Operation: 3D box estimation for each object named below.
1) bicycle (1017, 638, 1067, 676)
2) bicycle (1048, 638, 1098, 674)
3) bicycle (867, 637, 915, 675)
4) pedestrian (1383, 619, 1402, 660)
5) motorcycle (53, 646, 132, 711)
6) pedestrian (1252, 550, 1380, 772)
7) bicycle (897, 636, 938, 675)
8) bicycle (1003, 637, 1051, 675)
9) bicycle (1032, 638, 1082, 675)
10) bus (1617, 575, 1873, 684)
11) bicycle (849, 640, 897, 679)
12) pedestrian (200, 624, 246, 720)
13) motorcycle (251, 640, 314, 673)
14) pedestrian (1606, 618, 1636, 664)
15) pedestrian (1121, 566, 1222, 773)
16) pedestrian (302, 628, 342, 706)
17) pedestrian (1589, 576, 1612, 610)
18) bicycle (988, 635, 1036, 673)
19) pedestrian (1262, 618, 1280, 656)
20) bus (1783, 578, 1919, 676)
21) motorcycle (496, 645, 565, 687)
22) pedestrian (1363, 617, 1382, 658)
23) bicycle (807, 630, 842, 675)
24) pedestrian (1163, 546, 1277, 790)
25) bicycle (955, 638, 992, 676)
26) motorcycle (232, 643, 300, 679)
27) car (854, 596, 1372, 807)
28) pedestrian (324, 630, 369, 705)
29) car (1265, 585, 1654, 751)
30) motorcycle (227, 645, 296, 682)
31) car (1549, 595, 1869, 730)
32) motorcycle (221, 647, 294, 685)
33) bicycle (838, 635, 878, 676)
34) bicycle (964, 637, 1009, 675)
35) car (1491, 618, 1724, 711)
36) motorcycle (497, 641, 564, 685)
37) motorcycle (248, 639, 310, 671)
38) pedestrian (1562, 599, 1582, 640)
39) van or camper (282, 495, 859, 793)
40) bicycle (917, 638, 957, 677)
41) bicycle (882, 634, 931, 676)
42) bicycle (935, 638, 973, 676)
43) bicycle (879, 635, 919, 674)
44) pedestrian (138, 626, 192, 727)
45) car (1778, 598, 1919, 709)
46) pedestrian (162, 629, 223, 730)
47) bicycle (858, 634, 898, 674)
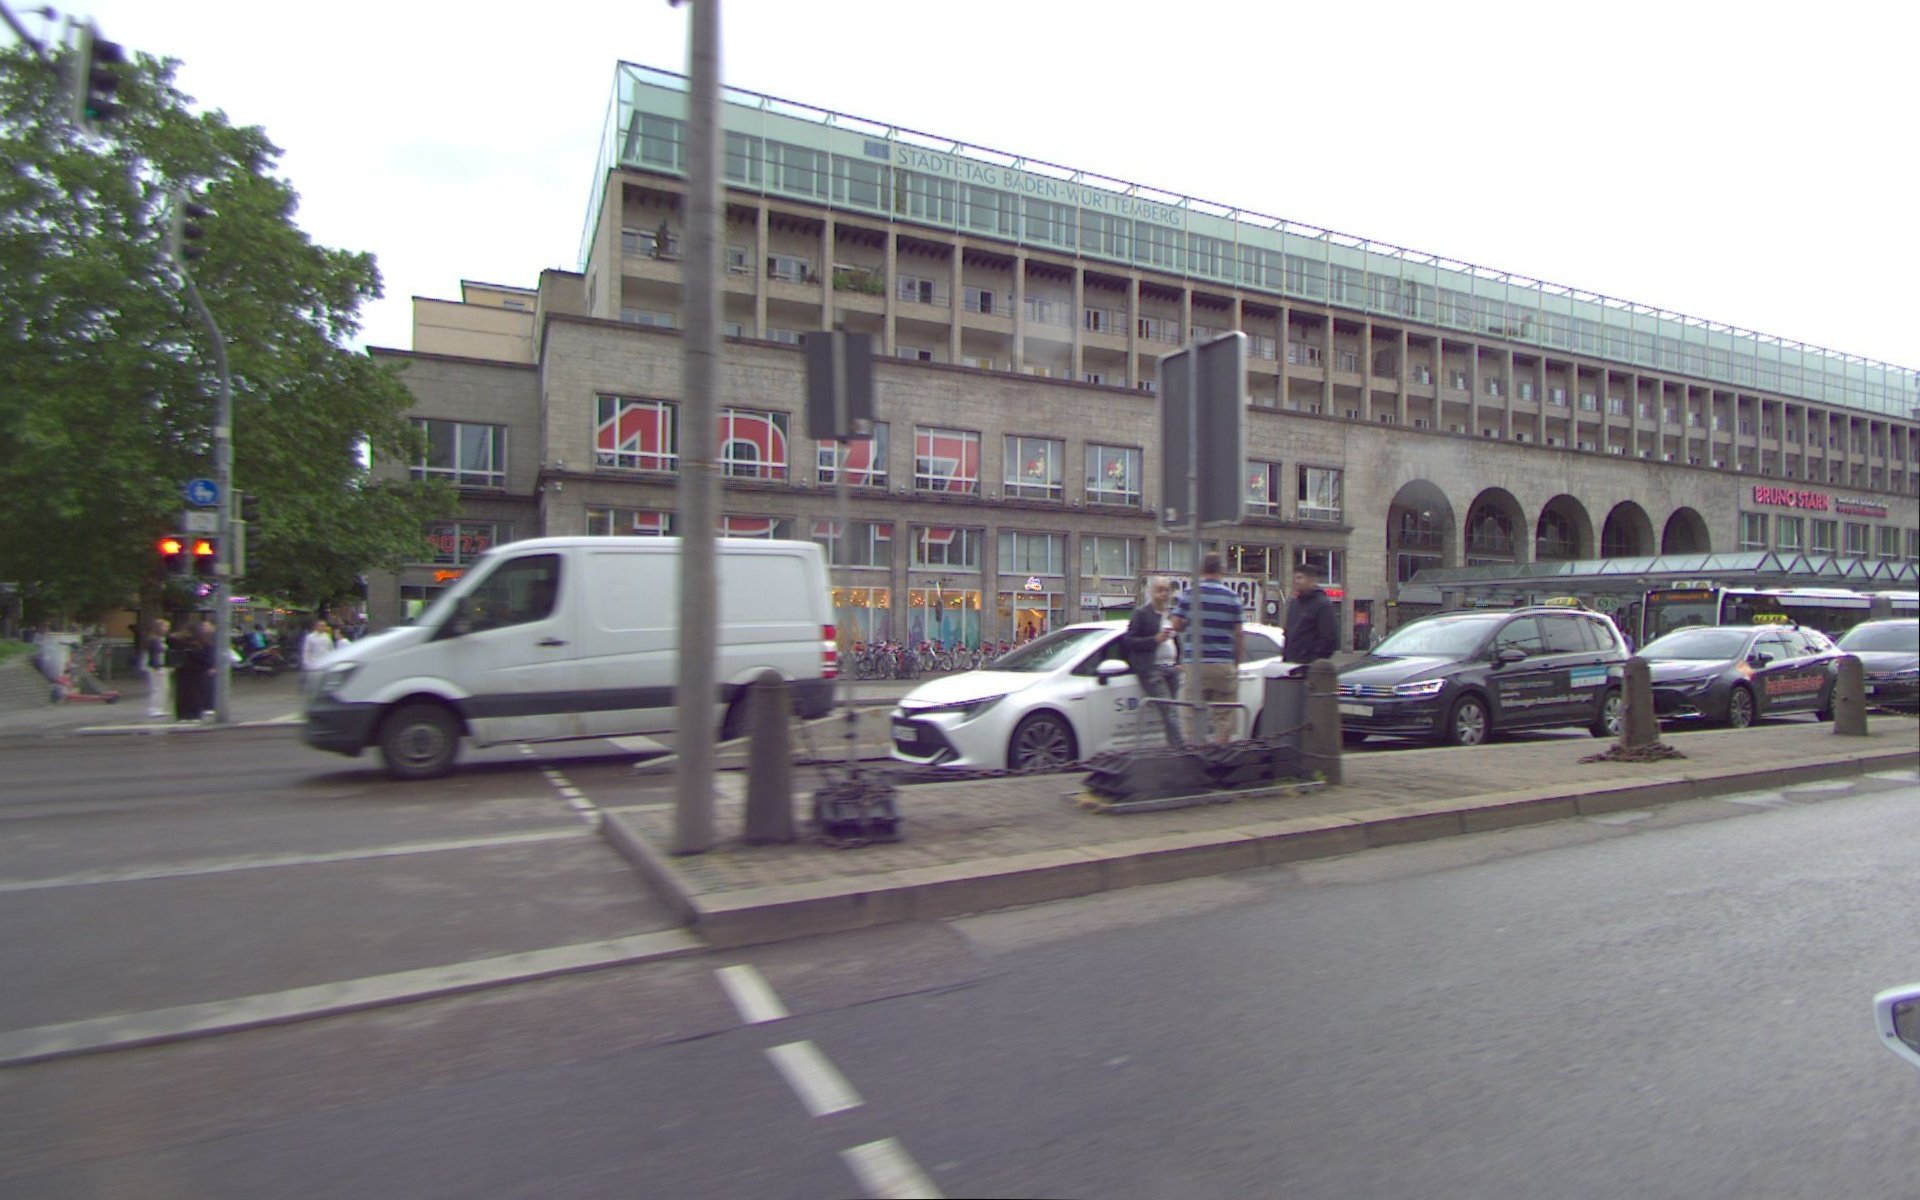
[{"bbox_3d":[3.120,2.168,38.367,0.673,1.343,2.192,1,-1,-35],"label":"bicycle"},{"bbox_3d":[4.421,2.170,39.427,0.673,1.343,2.192,1,-1,-35],"label":"bicycle"},{"bbox_3d":[-2.215,1.759,31.864,0.590,1.091,2.075,0,1,-33],"label":"bicycle"},{"bbox_3d":[21.989,2.000,51.031,0.700,2.040,0.573,1,-1,-27],"label":"pedestrian"},{"bbox_3d":[-17.874,1.600,20.718,1.148,1.295,0.414,1,-1,-30],"label":"motorcycle"},{"bbox_3d":[3.049,0.520,8.630,0.601,1.798,0.776,1,-4,-38],"label":"pedestrian"},{"bbox_3d":[-1.561,1.982,36.493,0.673,1.343,1.717,1,-1,-35],"label":"bicycle"},{"bbox_3d":[2.507,2.081,37.909,0.555,1.343,2.192,1,-1,-35],"label":"bicycle"},{"bbox_3d":[3.721,2.169,38.821,0.673,1.343,2.192,1,-1,-35],"label":"bicycle"},{"bbox_3d":[27.576,0.994,35.125,10.435,3.421,2.868,1,-1,-27],"label":"bus"},{"bbox_3d":[-2.739,1.850,31.491,0.590,1.070,2.075,0,1,-33],"label":"bicycle"},{"bbox_3d":[-13.482,1.301,18.385,0.553,1.707,0.746,1,-3,-29],"label":"pedestrian"},{"bbox_3d":[-22.590,1.874,33.527,1.697,1.061,0.528,1,-1,-30],"label":"motorcycle"},{"bbox_3d":[23.860,1.486,36.247,0.731,1.635,0.655,1,0,-31],"label":"pedestrian"},{"bbox_3d":[1.851,0.577,8.830,0.585,1.734,0.648,0,1,-28],"label":"pedestrian"},{"bbox_3d":[-13.956,1.463,21.970,0.522,1.663,0.607,-4,-4,43],"label":"pedestrian"},{"bbox_3d":[30.246,-0.325,47.441,0.746,1.588,0.628,0,1,-25],"label":"pedestrian"},{"bbox_3d":[1.921,2.007,37.632,0.586,1.343,2.192,1,-1,-35],"label":"bicycle"},{"bbox_3d":[14.435,1.719,46.557,0.685,1.739,0.465,1,-1,-34],"label":"pedestrian"},{"bbox_3d":[37.002,1.040,39.746,10.435,3.505,2.868,1,-1,-27],"label":"bus"},{"bbox_3d":[-11.325,1.734,26.518,1.591,1.057,0.583,1,1,6],"label":"motorcycle"},{"bbox_3d":[20.921,1.903,50.966,0.700,2.040,0.573,1,-1,-27],"label":"pedestrian"},{"bbox_3d":[-4.660,1.789,34.542,0.561,1.454,1.473,0,1,-37],"label":"bicycle"},{"bbox_3d":[1.991,0.524,7.773,0.737,1.798,0.560,-2,-3,7],"label":"pedestrian"},{"bbox_3d":[0.492,2.102,37.171,0.566,1.343,1.550,1,-1,-35],"label":"bicycle"},{"bbox_3d":[-21.651,1.893,31.356,1.697,1.061,0.528,1,-1,-30],"label":"motorcycle"},{"bbox_3d":[1.544,0.821,9.849,4.779,1.642,2.008,0,-1,-27],"label":"car"},{"bbox_3d":[-13.337,1.469,21.836,0.469,1.592,0.747,-4,-4,45],"label":"pedestrian"},{"bbox_3d":[6.155,0.777,12.302,4.622,1.712,1.923,1,-3,-28],"label":"car"},{"bbox_3d":[-21.411,1.942,30.814,1.697,1.061,0.528,1,-1,-30],"label":"motorcycle"},{"bbox_3d":[11.006,0.871,14.723,4.622,1.712,1.923,1,-3,-28],"label":"car"},{"bbox_3d":[-20.525,1.911,29.394,1.697,1.061,0.528,1,-1,-30],"label":"motorcycle"},{"bbox_3d":[-3.575,1.921,35.158,0.673,1.343,1.656,1,-1,-35],"label":"bicycle"},{"bbox_3d":[0.983,2.070,37.722,0.673,1.343,1.914,1,-1,-35],"label":"bicycle"},{"bbox_3d":[13.101,1.258,20.291,4.622,1.712,1.923,1,-3,-28],"label":"car"},{"bbox_3d":[-11.644,1.701,27.254,1.591,1.149,0.583,1,1,6],"label":"motorcycle"},{"bbox_3d":[-23.225,1.858,34.268,1.697,1.061,0.528,1,-1,-30],"label":"motorcycle"},{"bbox_3d":[22.956,0.720,37.676,0.575,1.527,0.624,1,1,34],"label":"pedestrian"},{"bbox_3d":[-3.917,0.452,10.745,5.304,2.547,1.986,1,-4,-29],"label":"van or camper"},{"bbox_3d":[-0.850,2.095,36.923,0.673,1.343,1.694,1,-1,-35],"label":"bicycle"},{"bbox_3d":[-1.738,1.734,32.197,0.590,1.196,2.075,0,1,-33],"label":"bicycle"},{"bbox_3d":[-0.229,2.085,37.241,0.575,1.343,1.694,1,-1,-35],"label":"bicycle"},{"bbox_3d":[-2.204,1.948,36.064,0.673,1.343,1.656,1,-1,-35],"label":"bicycle"},{"bbox_3d":[-14.164,1.347,17.912,0.651,1.709,0.595,0,4,-29],"label":"pedestrian"},{"bbox_3d":[16.558,0.907,17.469,4.622,1.712,1.923,1,-3,-28],"label":"car"},{"bbox_3d":[-12.524,1.280,16.396,0.746,1.592,0.553,1,-4,-40],"label":"pedestrian"},{"bbox_3d":[-2.909,1.900,35.683,0.673,1.343,1.656,1,-1,-35],"label":"bicycle"}]
